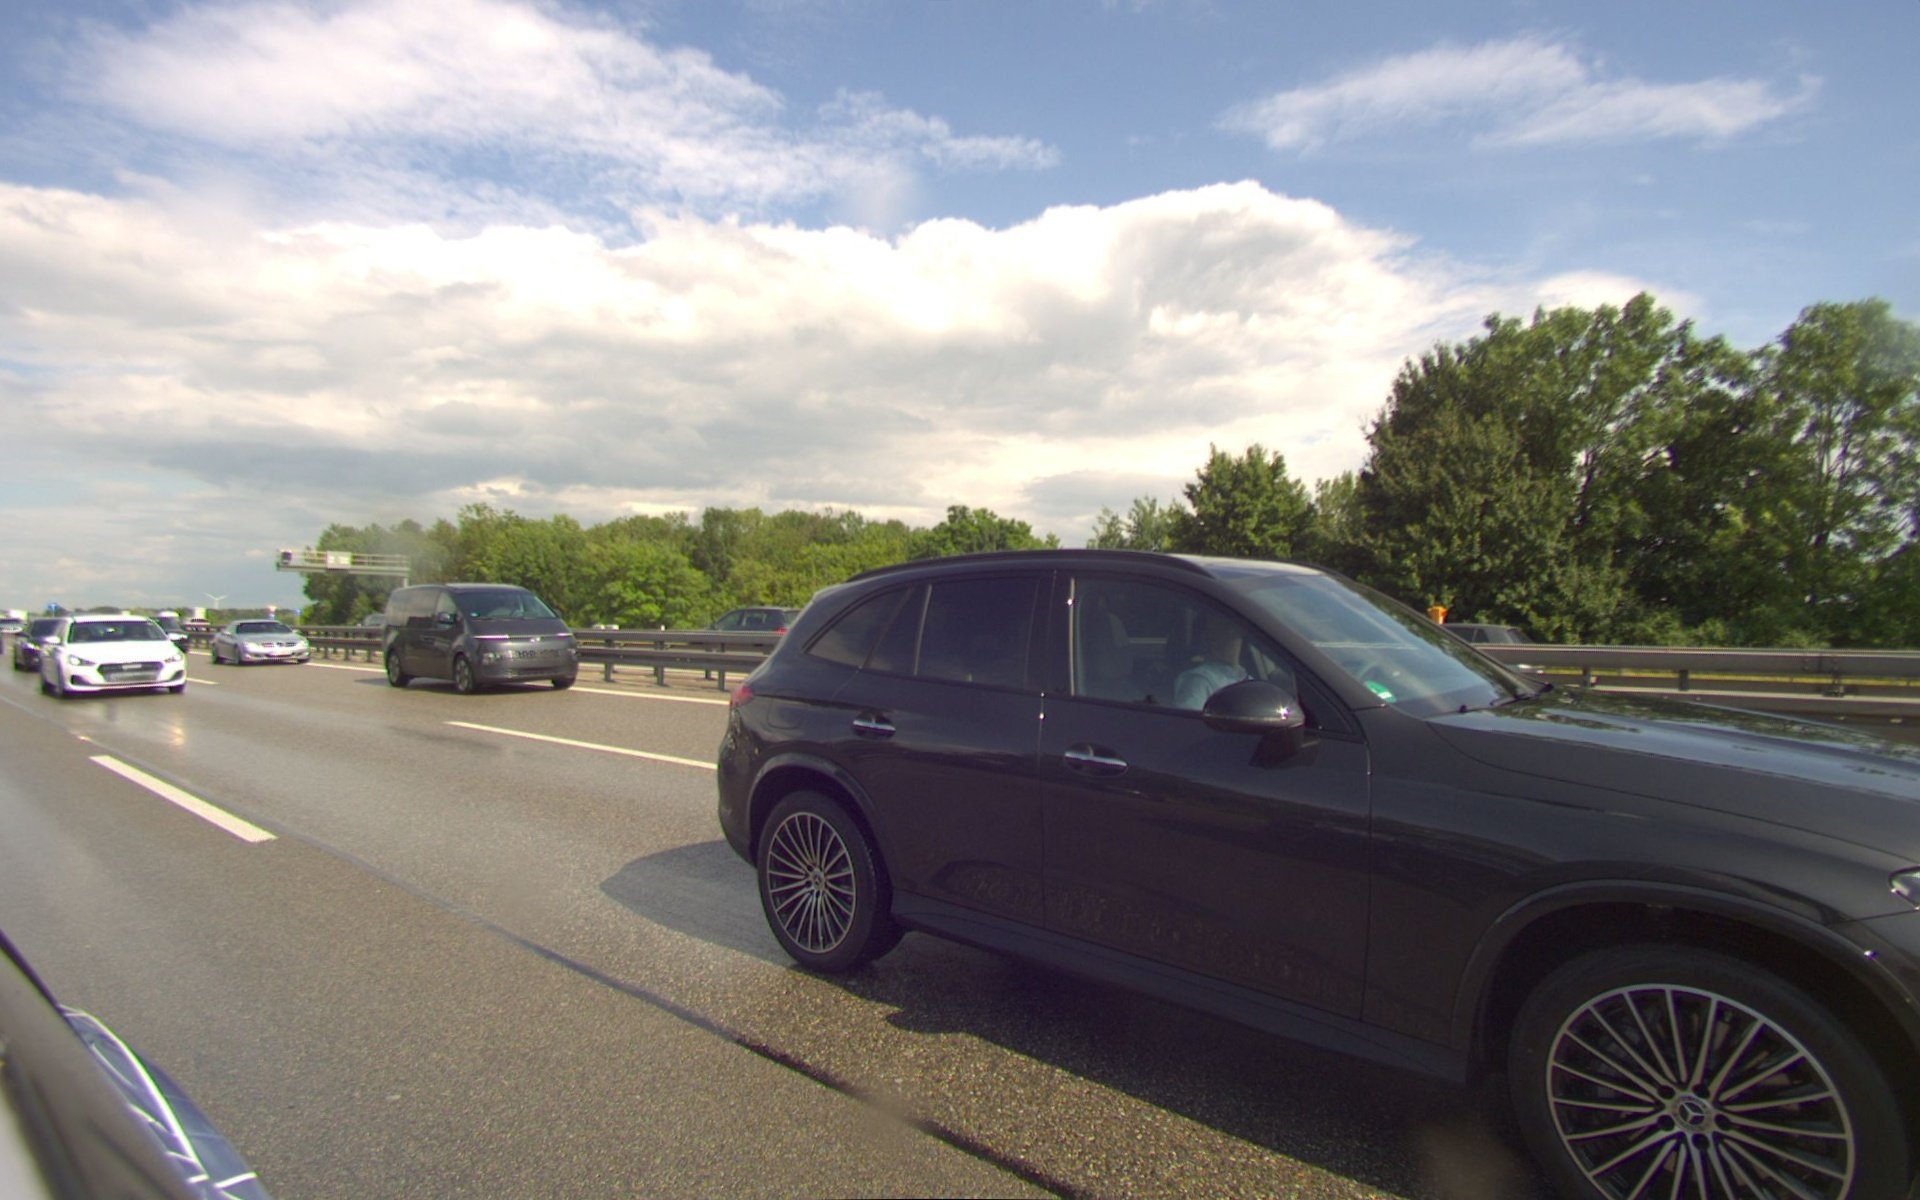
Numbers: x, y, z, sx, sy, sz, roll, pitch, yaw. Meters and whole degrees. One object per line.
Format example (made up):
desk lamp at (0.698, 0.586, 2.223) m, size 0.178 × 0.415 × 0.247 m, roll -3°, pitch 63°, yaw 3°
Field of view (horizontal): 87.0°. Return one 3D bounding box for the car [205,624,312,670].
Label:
car at (-20.138, 1.312, 29.003) m, size 3.583 × 1.198 × 1.832 m, roll -1°, pitch -1°, yaw 43°

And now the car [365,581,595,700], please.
car at (-9.067, 0.694, 18.893) m, size 5.233 × 1.932 × 1.973 m, roll -1°, pitch -1°, yaw 41°

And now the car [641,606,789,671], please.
car at (-6.431, 0.956, 26.385) m, size 3.998 × 1.556 × 1.781 m, roll -1°, pitch -1°, yaw 41°

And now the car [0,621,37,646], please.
car at (-69.174, 2.433, 74.145) m, size 3.997 × 1.763 × 1.876 m, roll -1°, pitch -1°, yaw 41°

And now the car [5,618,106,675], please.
car at (-24.506, 1.204, 27.378) m, size 3.998 × 1.409 × 1.577 m, roll -1°, pitch -1°, yaw 41°

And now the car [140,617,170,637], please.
car at (-86.184, 2.905, 108.340) m, size 4.365 × 2.029 × 1.971 m, roll -1°, pitch -1°, yaw 45°

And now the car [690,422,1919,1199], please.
car at (1.138, 0.547, 3.633) m, size 4.625 × 1.692 × 1.856 m, roll -1°, pitch -1°, yaw 42°

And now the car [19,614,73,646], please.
car at (-53.357, 1.710, 59.060) m, size 3.997 × 1.763 × 1.876 m, roll -1°, pitch -1°, yaw 41°

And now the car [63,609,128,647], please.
car at (-43.253, 1.377, 50.605) m, size 3.997 × 1.763 × 1.876 m, roll -1°, pitch -1°, yaw 41°

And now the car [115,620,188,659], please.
car at (-31.745, 1.502, 39.703) m, size 3.999 × 1.431 × 1.597 m, roll -1°, pitch -1°, yaw 42°

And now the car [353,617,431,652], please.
car at (-29.095, 1.727, 51.764) m, size 4.823 × 1.697 × 1.973 m, roll -1°, pitch -1°, yaw 41°

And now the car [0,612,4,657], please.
car at (-39.314, 1.374, 39.964) m, size 3.997 × 1.730 × 1.865 m, roll -1°, pitch -1°, yaw 41°

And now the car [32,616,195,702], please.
car at (-15.820, 1.019, 18.840) m, size 4.239 × 1.408 × 1.785 m, roll -1°, pitch -1°, yaw 43°

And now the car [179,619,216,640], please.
car at (-63.104, 2.436, 83.732) m, size 3.808 × 1.663 × 1.716 m, roll -1°, pitch -1°, yaw 40°

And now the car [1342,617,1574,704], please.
car at (10.269, 1.175, 21.025) m, size 3.999 × 1.604 × 1.714 m, roll -1°, pitch -1°, yaw 42°
